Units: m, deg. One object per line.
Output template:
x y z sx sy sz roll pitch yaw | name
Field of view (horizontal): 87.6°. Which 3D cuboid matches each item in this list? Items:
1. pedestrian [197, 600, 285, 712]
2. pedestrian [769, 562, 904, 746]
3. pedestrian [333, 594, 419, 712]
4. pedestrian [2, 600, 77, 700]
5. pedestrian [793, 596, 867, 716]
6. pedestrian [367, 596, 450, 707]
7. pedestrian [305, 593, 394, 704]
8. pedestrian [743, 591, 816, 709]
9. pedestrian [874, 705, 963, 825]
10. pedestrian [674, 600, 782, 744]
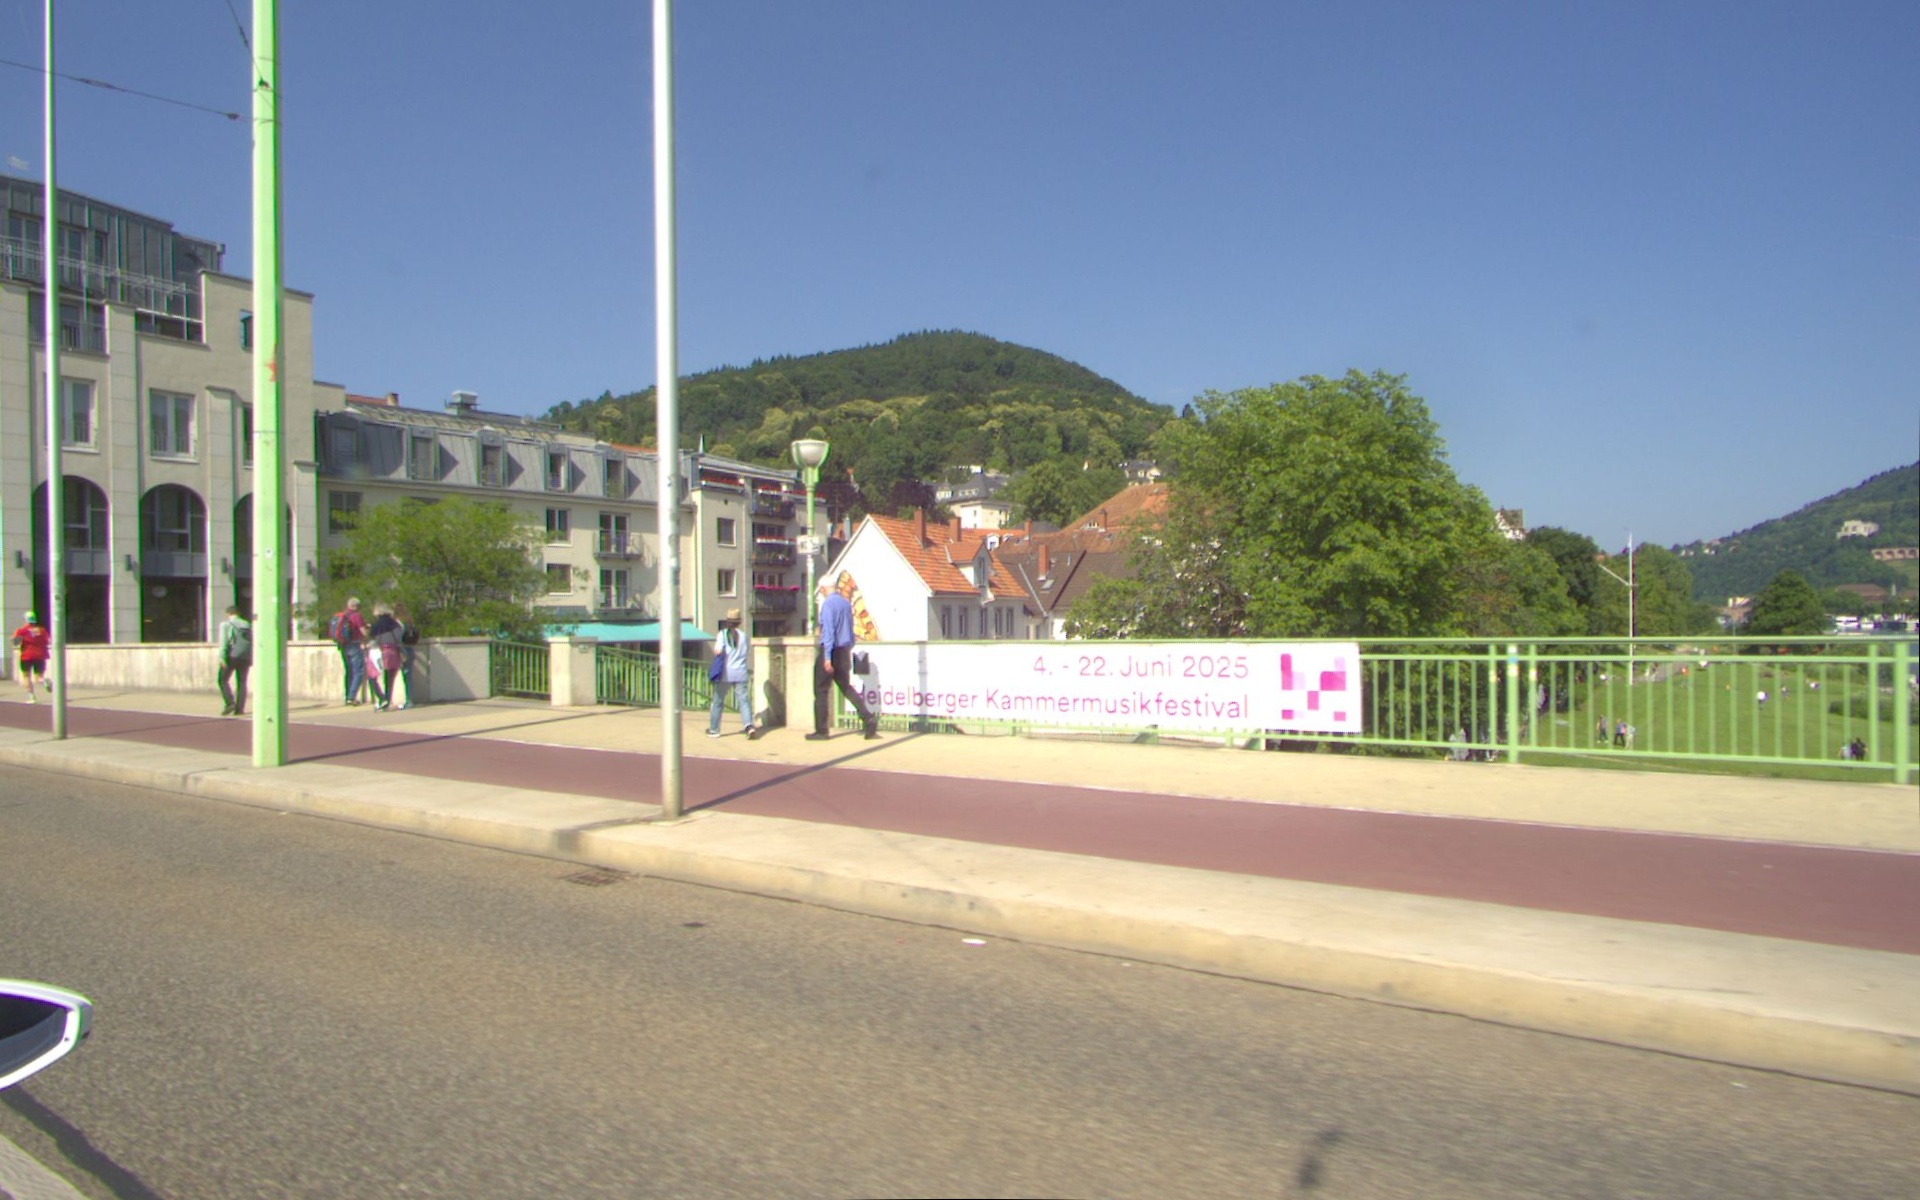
-11.653 0.892 16.231 1.058 1.741 0.753 -1 1 32 | pedestrian
-1.366 0.574 11.108 1.121 1.922 0.924 -1 0 32 | pedestrian
-9.275 0.827 15.915 1.001 1.801 0.738 -1 1 30 | pedestrian
-18.711 0.998 20.361 1.111 1.950 0.809 -1 1 32 | pedestrian
-1.953 0.824 15.153 0.728 1.741 1.014 -1 0 17 | pedestrian
-9.162 0.844 16.636 1.000 1.770 0.738 -1 1 29 | pedestrian
-10.455 0.803 17.168 0.730 1.826 1.011 -1 1 30 | pedestrian
-2.753 0.740 15.360 0.728 1.741 1.014 -1 1 13 | pedestrian
-0.700 2.783 17.140 0.966 1.801 1.200 -1 1 32 | pedestrian
-2.668 0.789 11.512 0.823 1.550 0.924 -3 1 -44 | pedestrian
